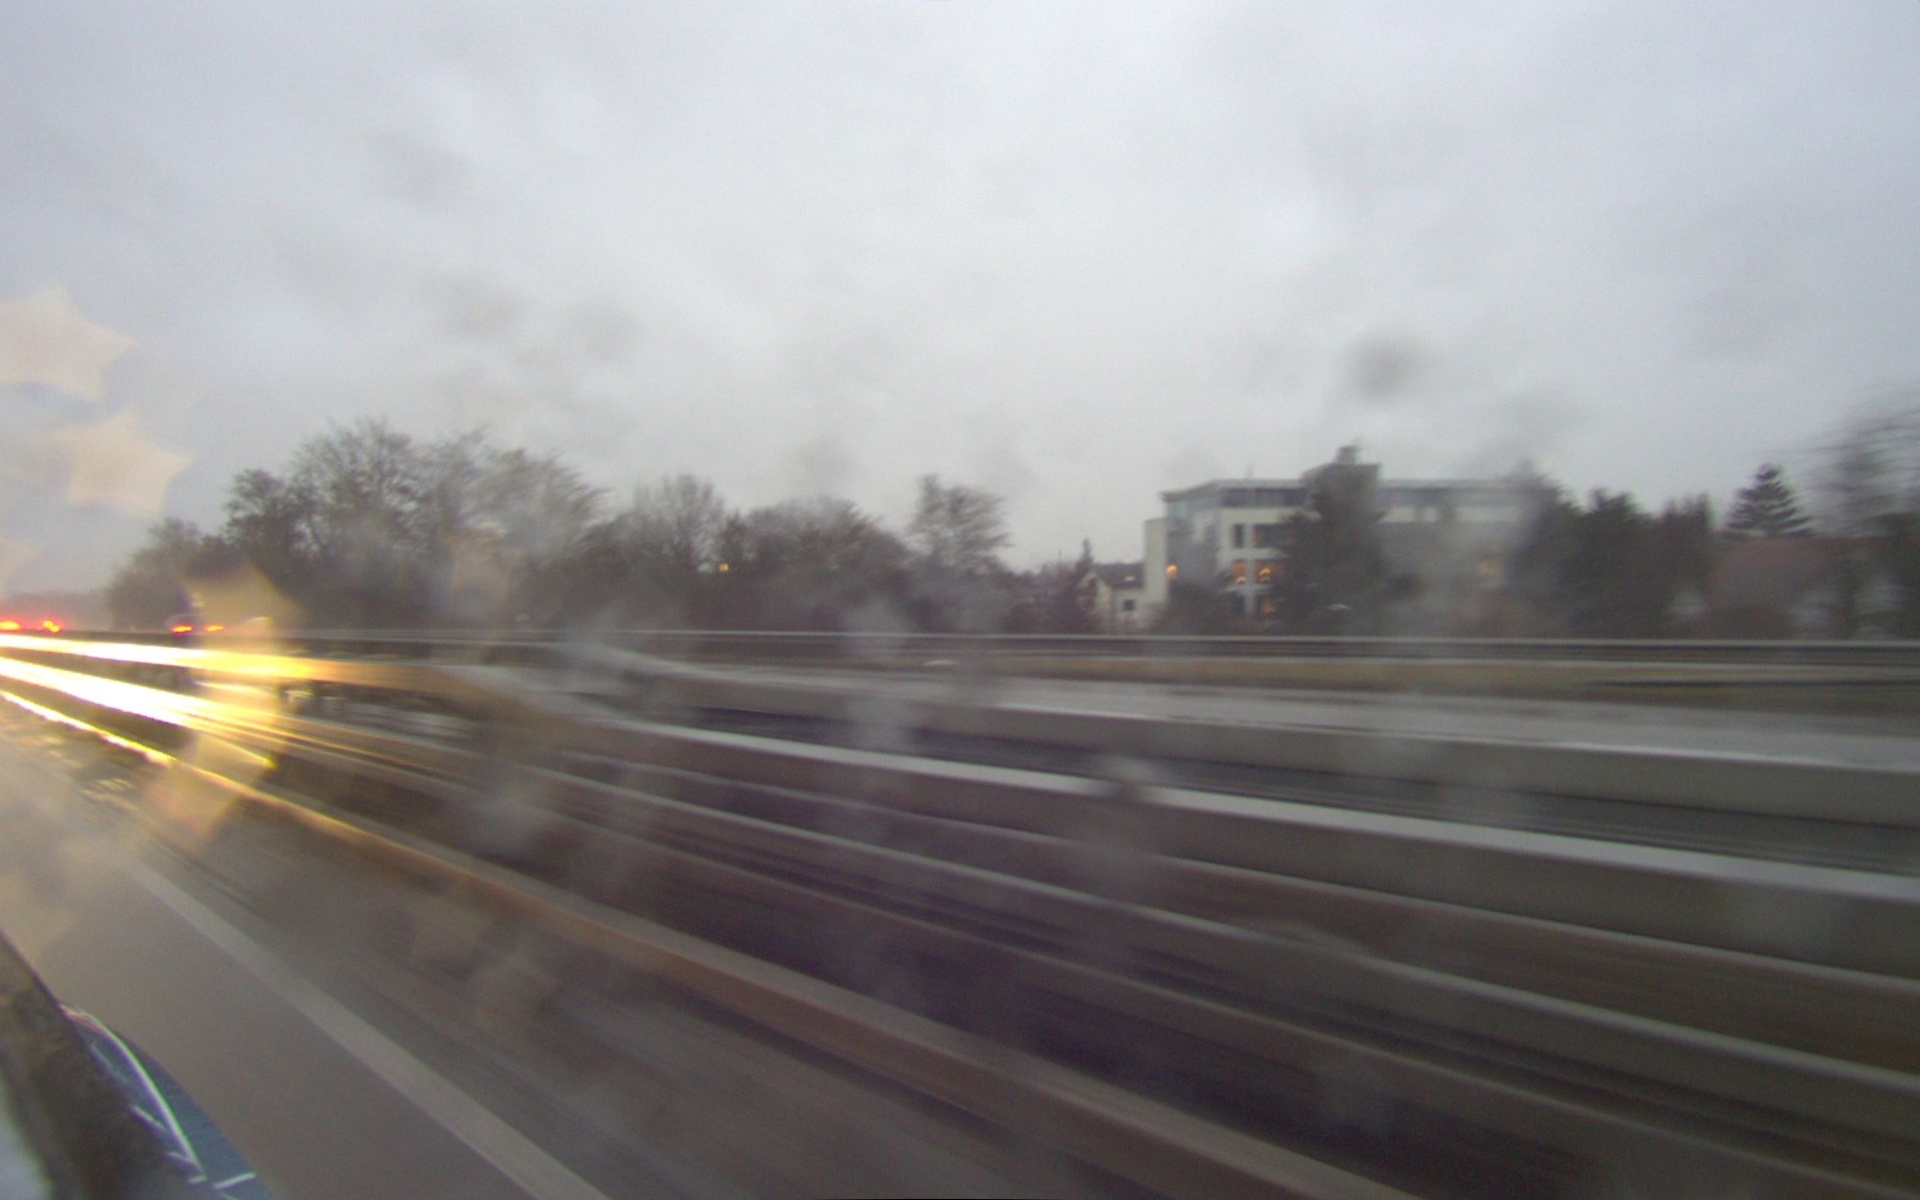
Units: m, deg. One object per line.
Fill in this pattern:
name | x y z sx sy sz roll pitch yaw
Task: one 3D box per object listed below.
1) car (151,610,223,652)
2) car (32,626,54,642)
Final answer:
car | -36.332 1.440 47.541 4.703 1.797 1.875 -2 0 42
car | -111.116 4.120 122.569 4.137 1.847 1.725 0 -1 45
